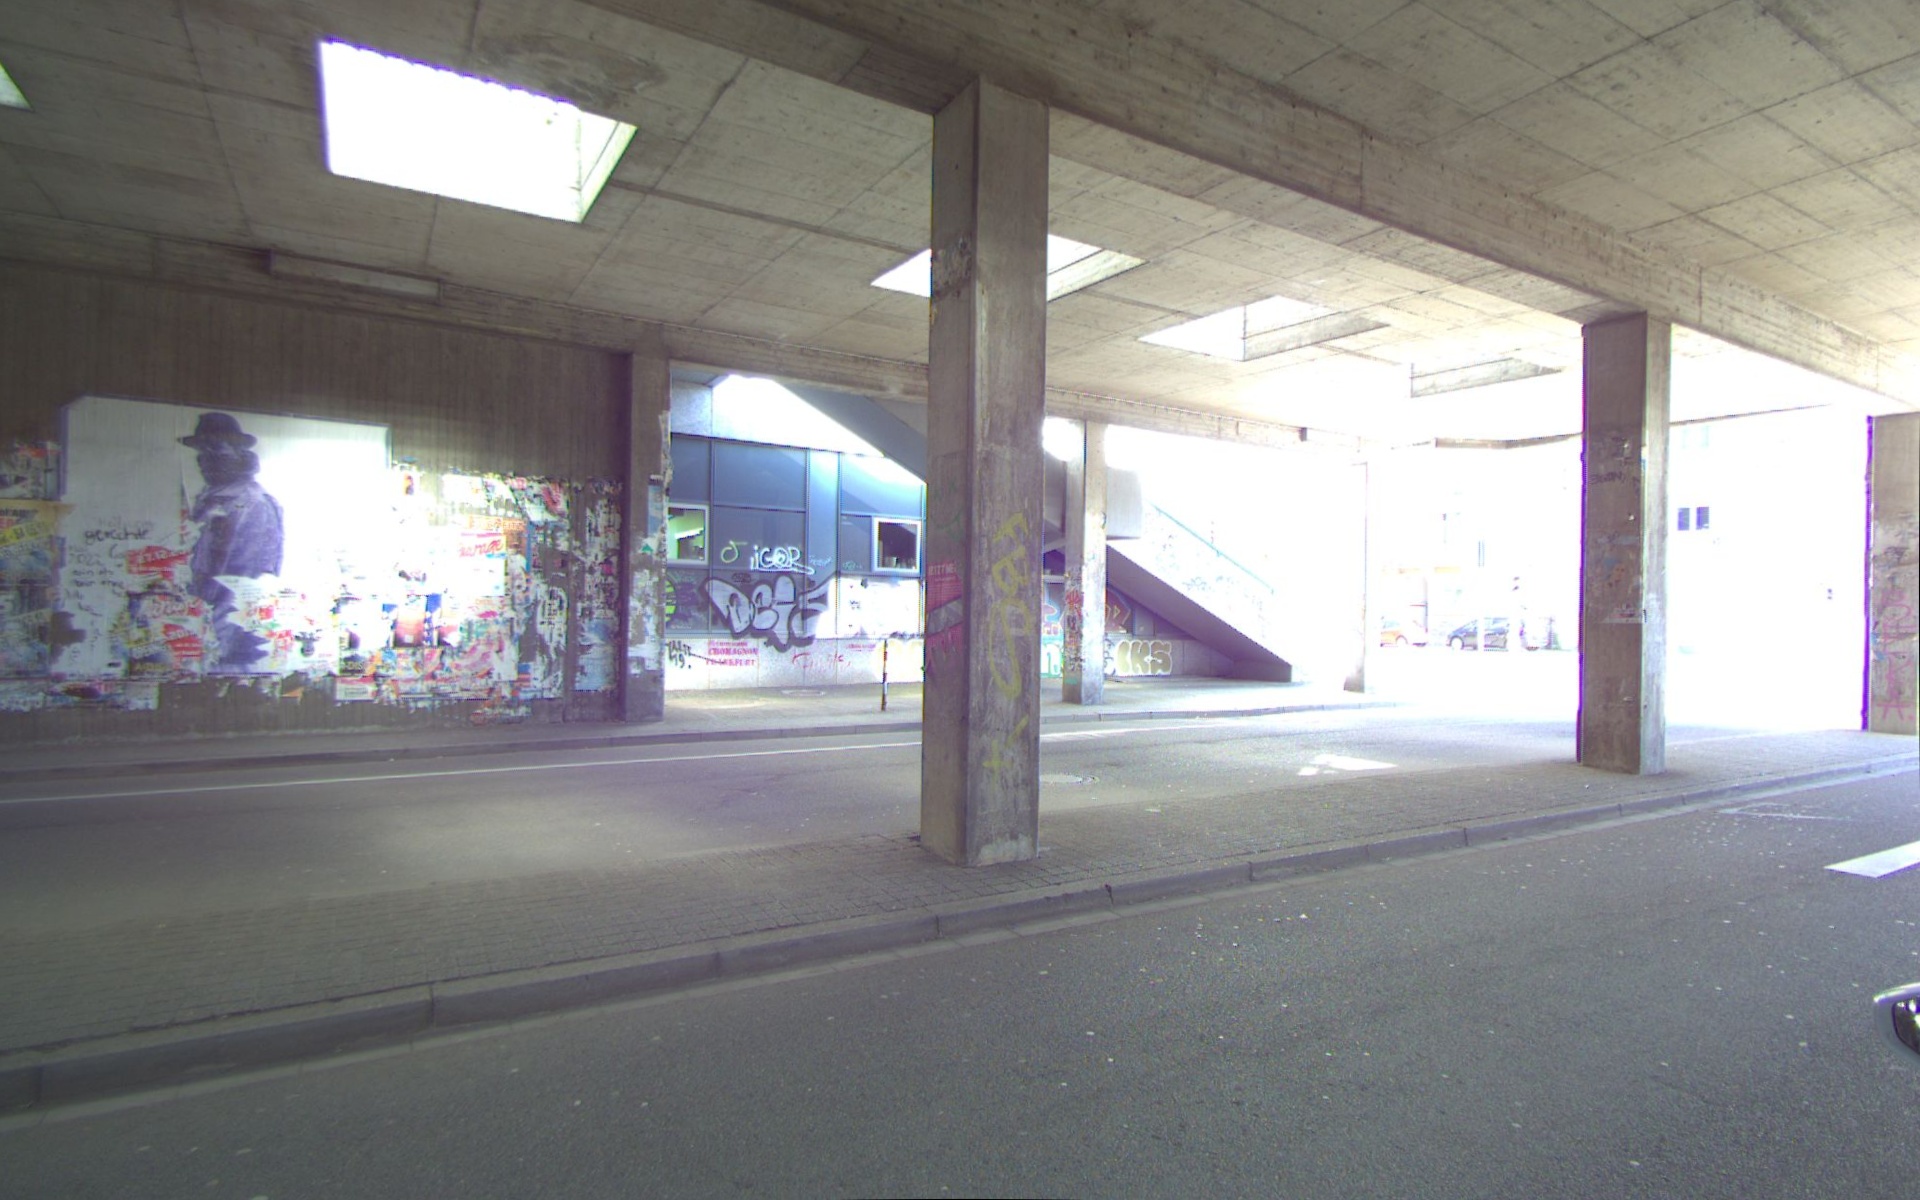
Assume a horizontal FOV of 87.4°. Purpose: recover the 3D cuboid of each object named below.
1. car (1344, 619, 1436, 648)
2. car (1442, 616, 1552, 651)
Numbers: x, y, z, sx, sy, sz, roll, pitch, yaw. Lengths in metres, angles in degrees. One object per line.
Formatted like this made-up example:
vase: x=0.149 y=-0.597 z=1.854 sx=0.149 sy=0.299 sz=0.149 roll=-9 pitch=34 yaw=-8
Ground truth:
car: x=22.489 y=1.740 z=52.670 sx=2.163 sy=1.392 sz=3.971 roll=1 pitch=-1 yaw=-28
car: x=25.411 y=1.556 z=47.659 sx=2.240 sy=1.571 sz=4.111 roll=1 pitch=-1 yaw=-29
